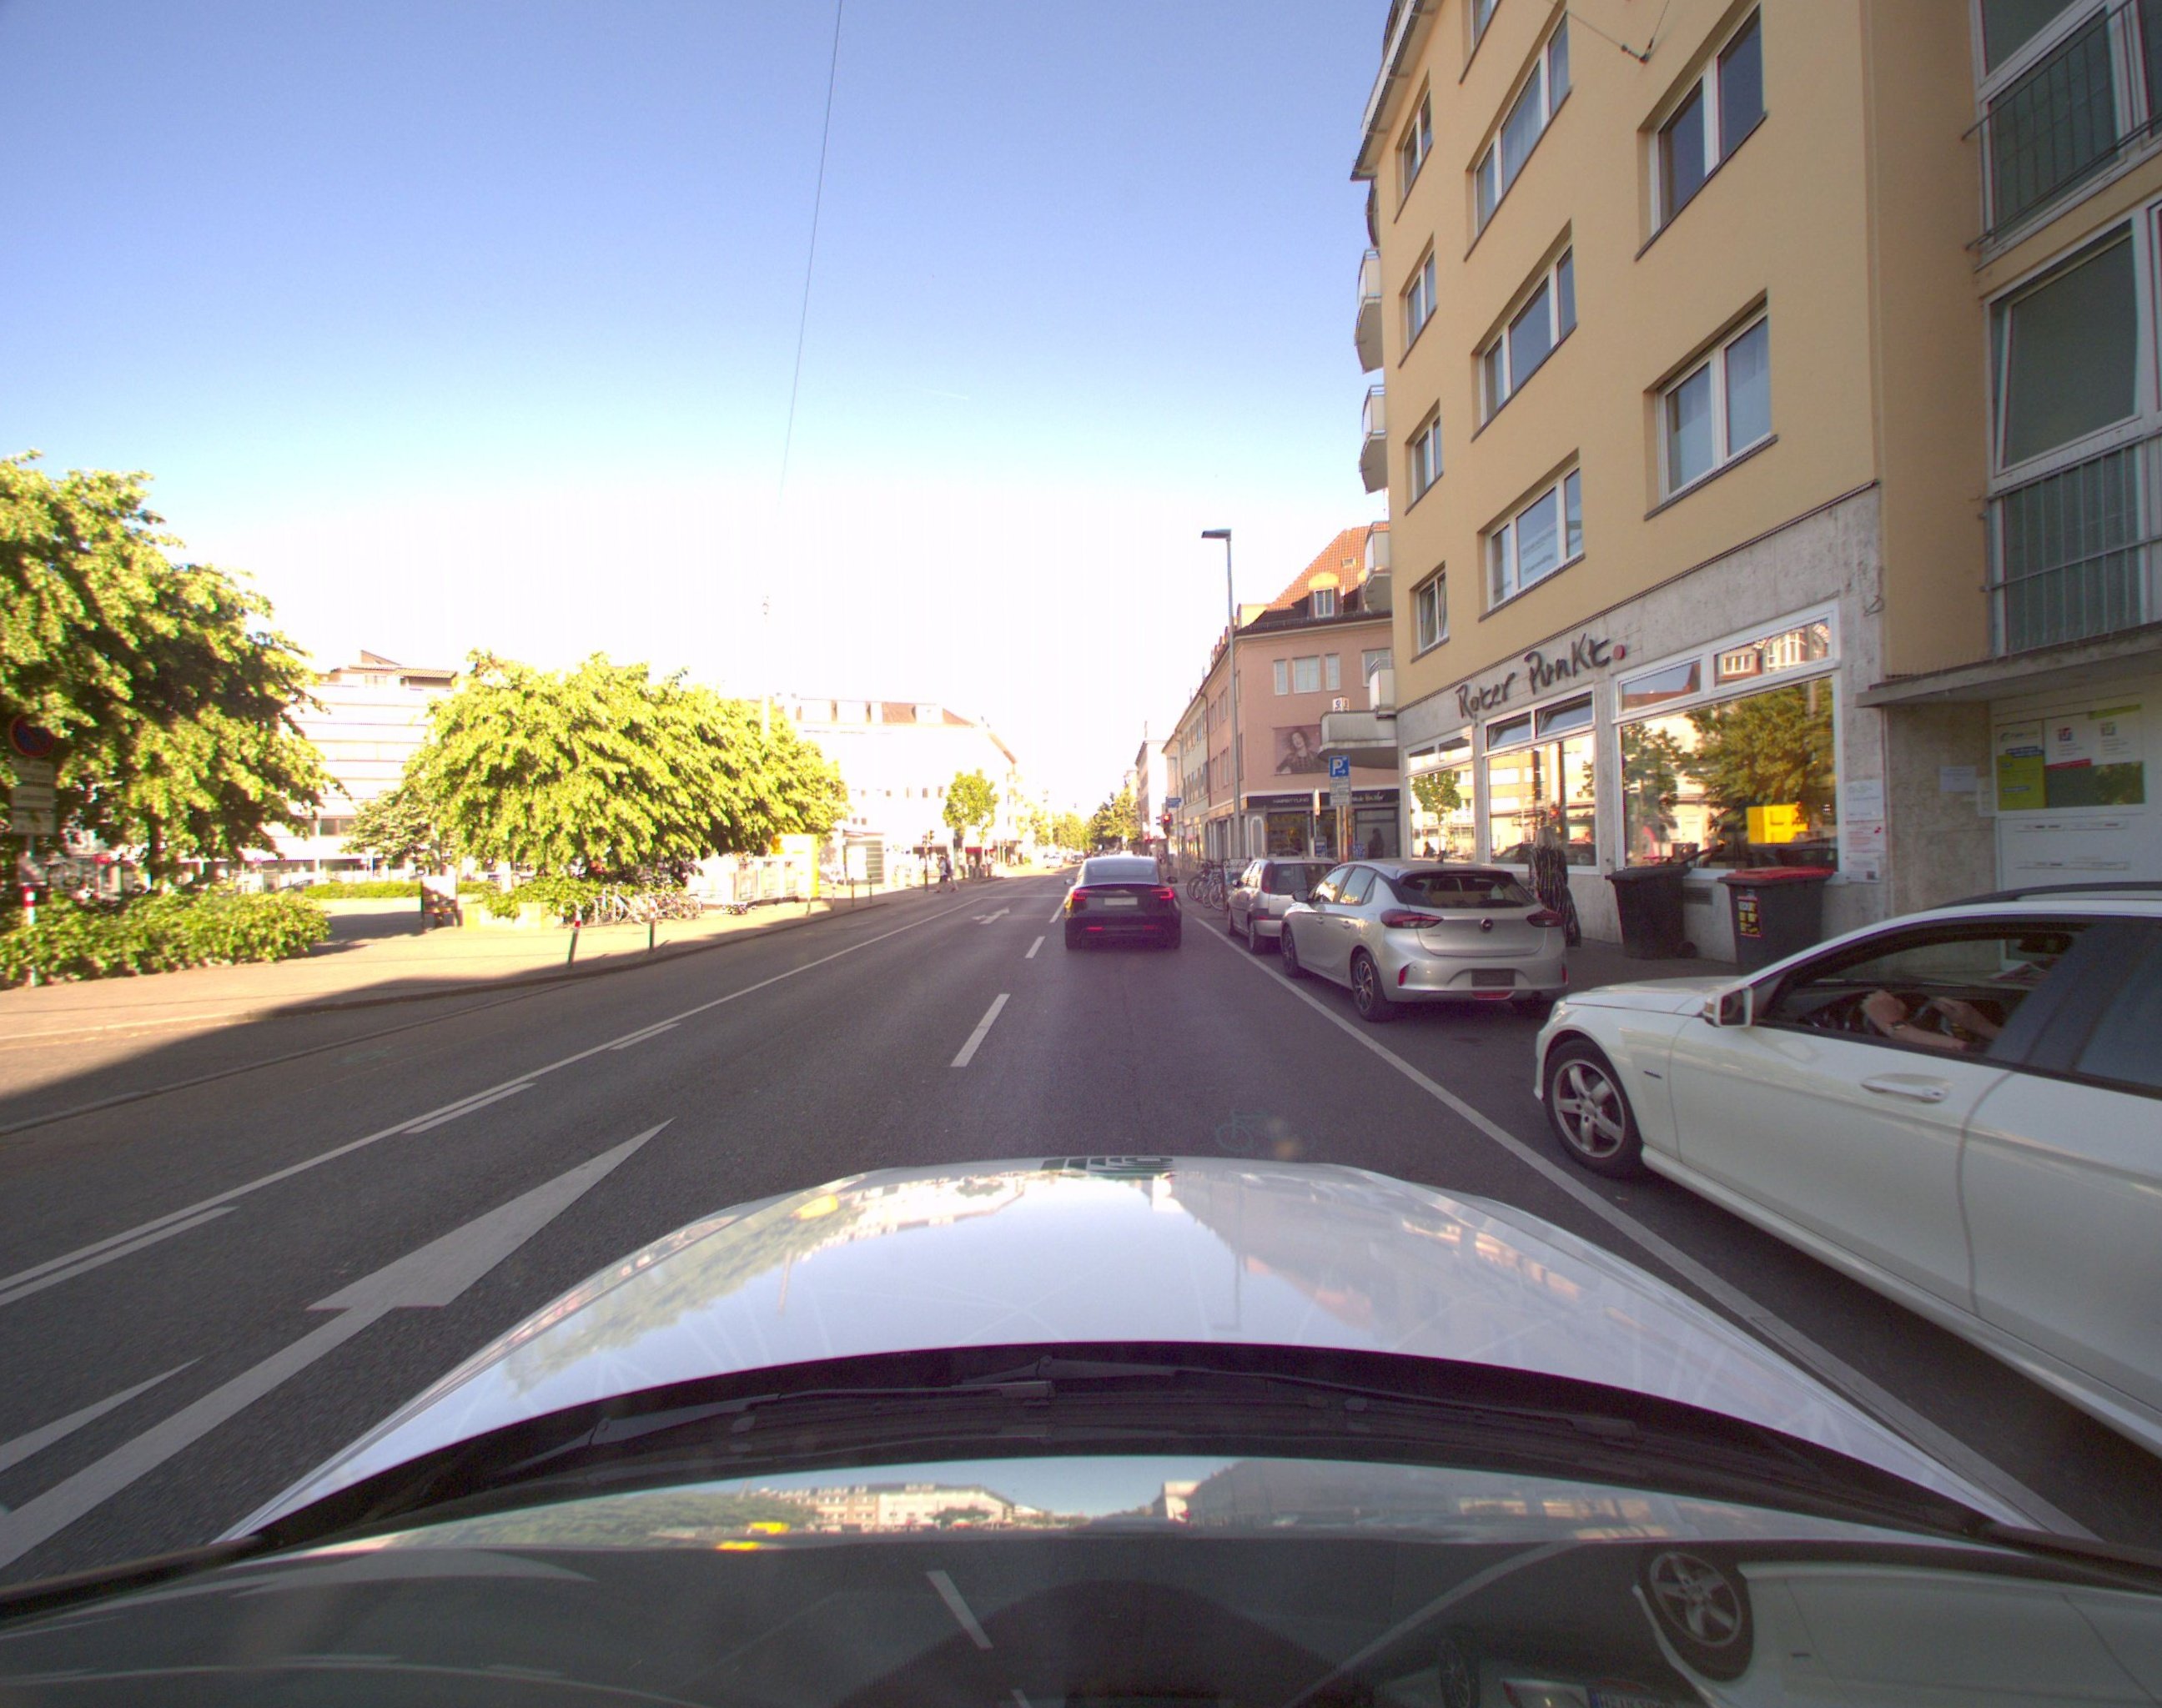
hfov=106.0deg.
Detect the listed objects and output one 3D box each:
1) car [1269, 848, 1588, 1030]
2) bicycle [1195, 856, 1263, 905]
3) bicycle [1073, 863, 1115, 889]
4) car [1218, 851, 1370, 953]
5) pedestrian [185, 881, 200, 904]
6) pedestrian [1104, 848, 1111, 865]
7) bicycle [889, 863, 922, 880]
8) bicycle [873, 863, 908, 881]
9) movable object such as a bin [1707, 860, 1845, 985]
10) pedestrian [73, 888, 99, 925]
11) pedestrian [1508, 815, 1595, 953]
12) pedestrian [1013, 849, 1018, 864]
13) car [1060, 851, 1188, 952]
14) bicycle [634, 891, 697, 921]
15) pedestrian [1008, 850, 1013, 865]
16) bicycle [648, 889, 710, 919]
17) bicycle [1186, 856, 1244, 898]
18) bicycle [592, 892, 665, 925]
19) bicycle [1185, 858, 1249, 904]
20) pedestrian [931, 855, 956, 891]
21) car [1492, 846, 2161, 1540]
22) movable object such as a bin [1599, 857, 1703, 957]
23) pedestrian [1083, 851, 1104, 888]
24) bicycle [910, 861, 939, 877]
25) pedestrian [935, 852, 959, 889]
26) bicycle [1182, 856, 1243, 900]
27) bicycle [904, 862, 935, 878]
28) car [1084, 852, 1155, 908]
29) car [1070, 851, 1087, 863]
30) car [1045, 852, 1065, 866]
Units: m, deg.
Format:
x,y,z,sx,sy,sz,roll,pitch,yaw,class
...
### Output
x,y,z,sx,sy,sz,roll,pitch,yaw,class
3.268,0.678,8.592,1.664,1.427,4.078,-1,0,1,car
3.793,0.688,20.990,1.622,1.160,0.433,-3,0,0,bicycle
0.529,0.895,33.008,1.605,1.045,0.592,-1,0,10,bicycle
3.300,0.661,13.313,1.615,1.394,3.889,-1,0,3,car
-69.456,2.983,63.636,0.576,1.792,0.604,-1,-1,19,pedestrian
3.221,0.282,99.182,0.620,2.013,0.562,-1,0,26,pedestrian
-11.922,1.172,55.377,2.074,1.104,0.806,-1,0,1,bicycle
-12.349,1.193,52.867,2.074,1.104,0.806,-1,0,1,bicycle
6.509,0.619,7.656,0.700,1.067,0.620,-4,0,1,movable object such as a bin
-55.078,2.887,45.083,0.577,2.014,0.682,-1,0,9,pedestrian
5.865,0.365,10.183,0.659,1.633,0.629,-4,-1,6,pedestrian
-8.790,0.376,109.624,0.623,2.013,0.575,-1,0,2,pedestrian
0.727,0.695,13.836,1.842,1.455,3.789,-1,0,3,car
-10.948,1.364,21.492,1.465,0.769,0.442,-1,0,6,bicycle
-9.513,0.432,109.692,0.623,2.013,0.707,-1,0,2,pedestrian
-10.874,1.348,22.050,1.466,0.769,0.475,-1,0,4,bicycle
4.007,0.673,24.461,1.621,1.160,0.433,-3,0,2,bicycle
-11.161,1.347,20.108,1.645,0.769,0.476,-1,0,10,bicycle
3.691,0.724,22.181,1.622,1.160,0.433,-3,0,0,bicycle
-6.362,0.878,37.702,0.981,1.636,0.738,-1,0,5,pedestrian
3.156,0.713,2.357,1.732,1.447,4.465,-1,0,1,car
6.577,0.591,9.426,0.700,1.067,0.620,-4,0,1,movable object such as a bin
0.520,0.624,32.966,0.738,1.440,0.584,-1,0,11,pedestrian
-11.983,1.151,62.354,2.074,1.104,0.806,-1,0,1,bicycle
-6.308,0.782,38.373,0.896,1.725,0.745,-1,0,5,pedestrian
3.766,0.693,23.323,1.622,1.160,0.433,-3,0,0,bicycle
-11.949,1.190,60.157,2.074,1.104,0.806,-1,0,1,bicycle
1.124,0.674,23.492,1.842,1.455,3.789,-1,0,3,car
-0.321,0.432,116.242,2.041,1.727,4.657,-1,0,3,car
-3.147,0.557,98.184,1.986,1.541,4.002,-5,0,2,car
